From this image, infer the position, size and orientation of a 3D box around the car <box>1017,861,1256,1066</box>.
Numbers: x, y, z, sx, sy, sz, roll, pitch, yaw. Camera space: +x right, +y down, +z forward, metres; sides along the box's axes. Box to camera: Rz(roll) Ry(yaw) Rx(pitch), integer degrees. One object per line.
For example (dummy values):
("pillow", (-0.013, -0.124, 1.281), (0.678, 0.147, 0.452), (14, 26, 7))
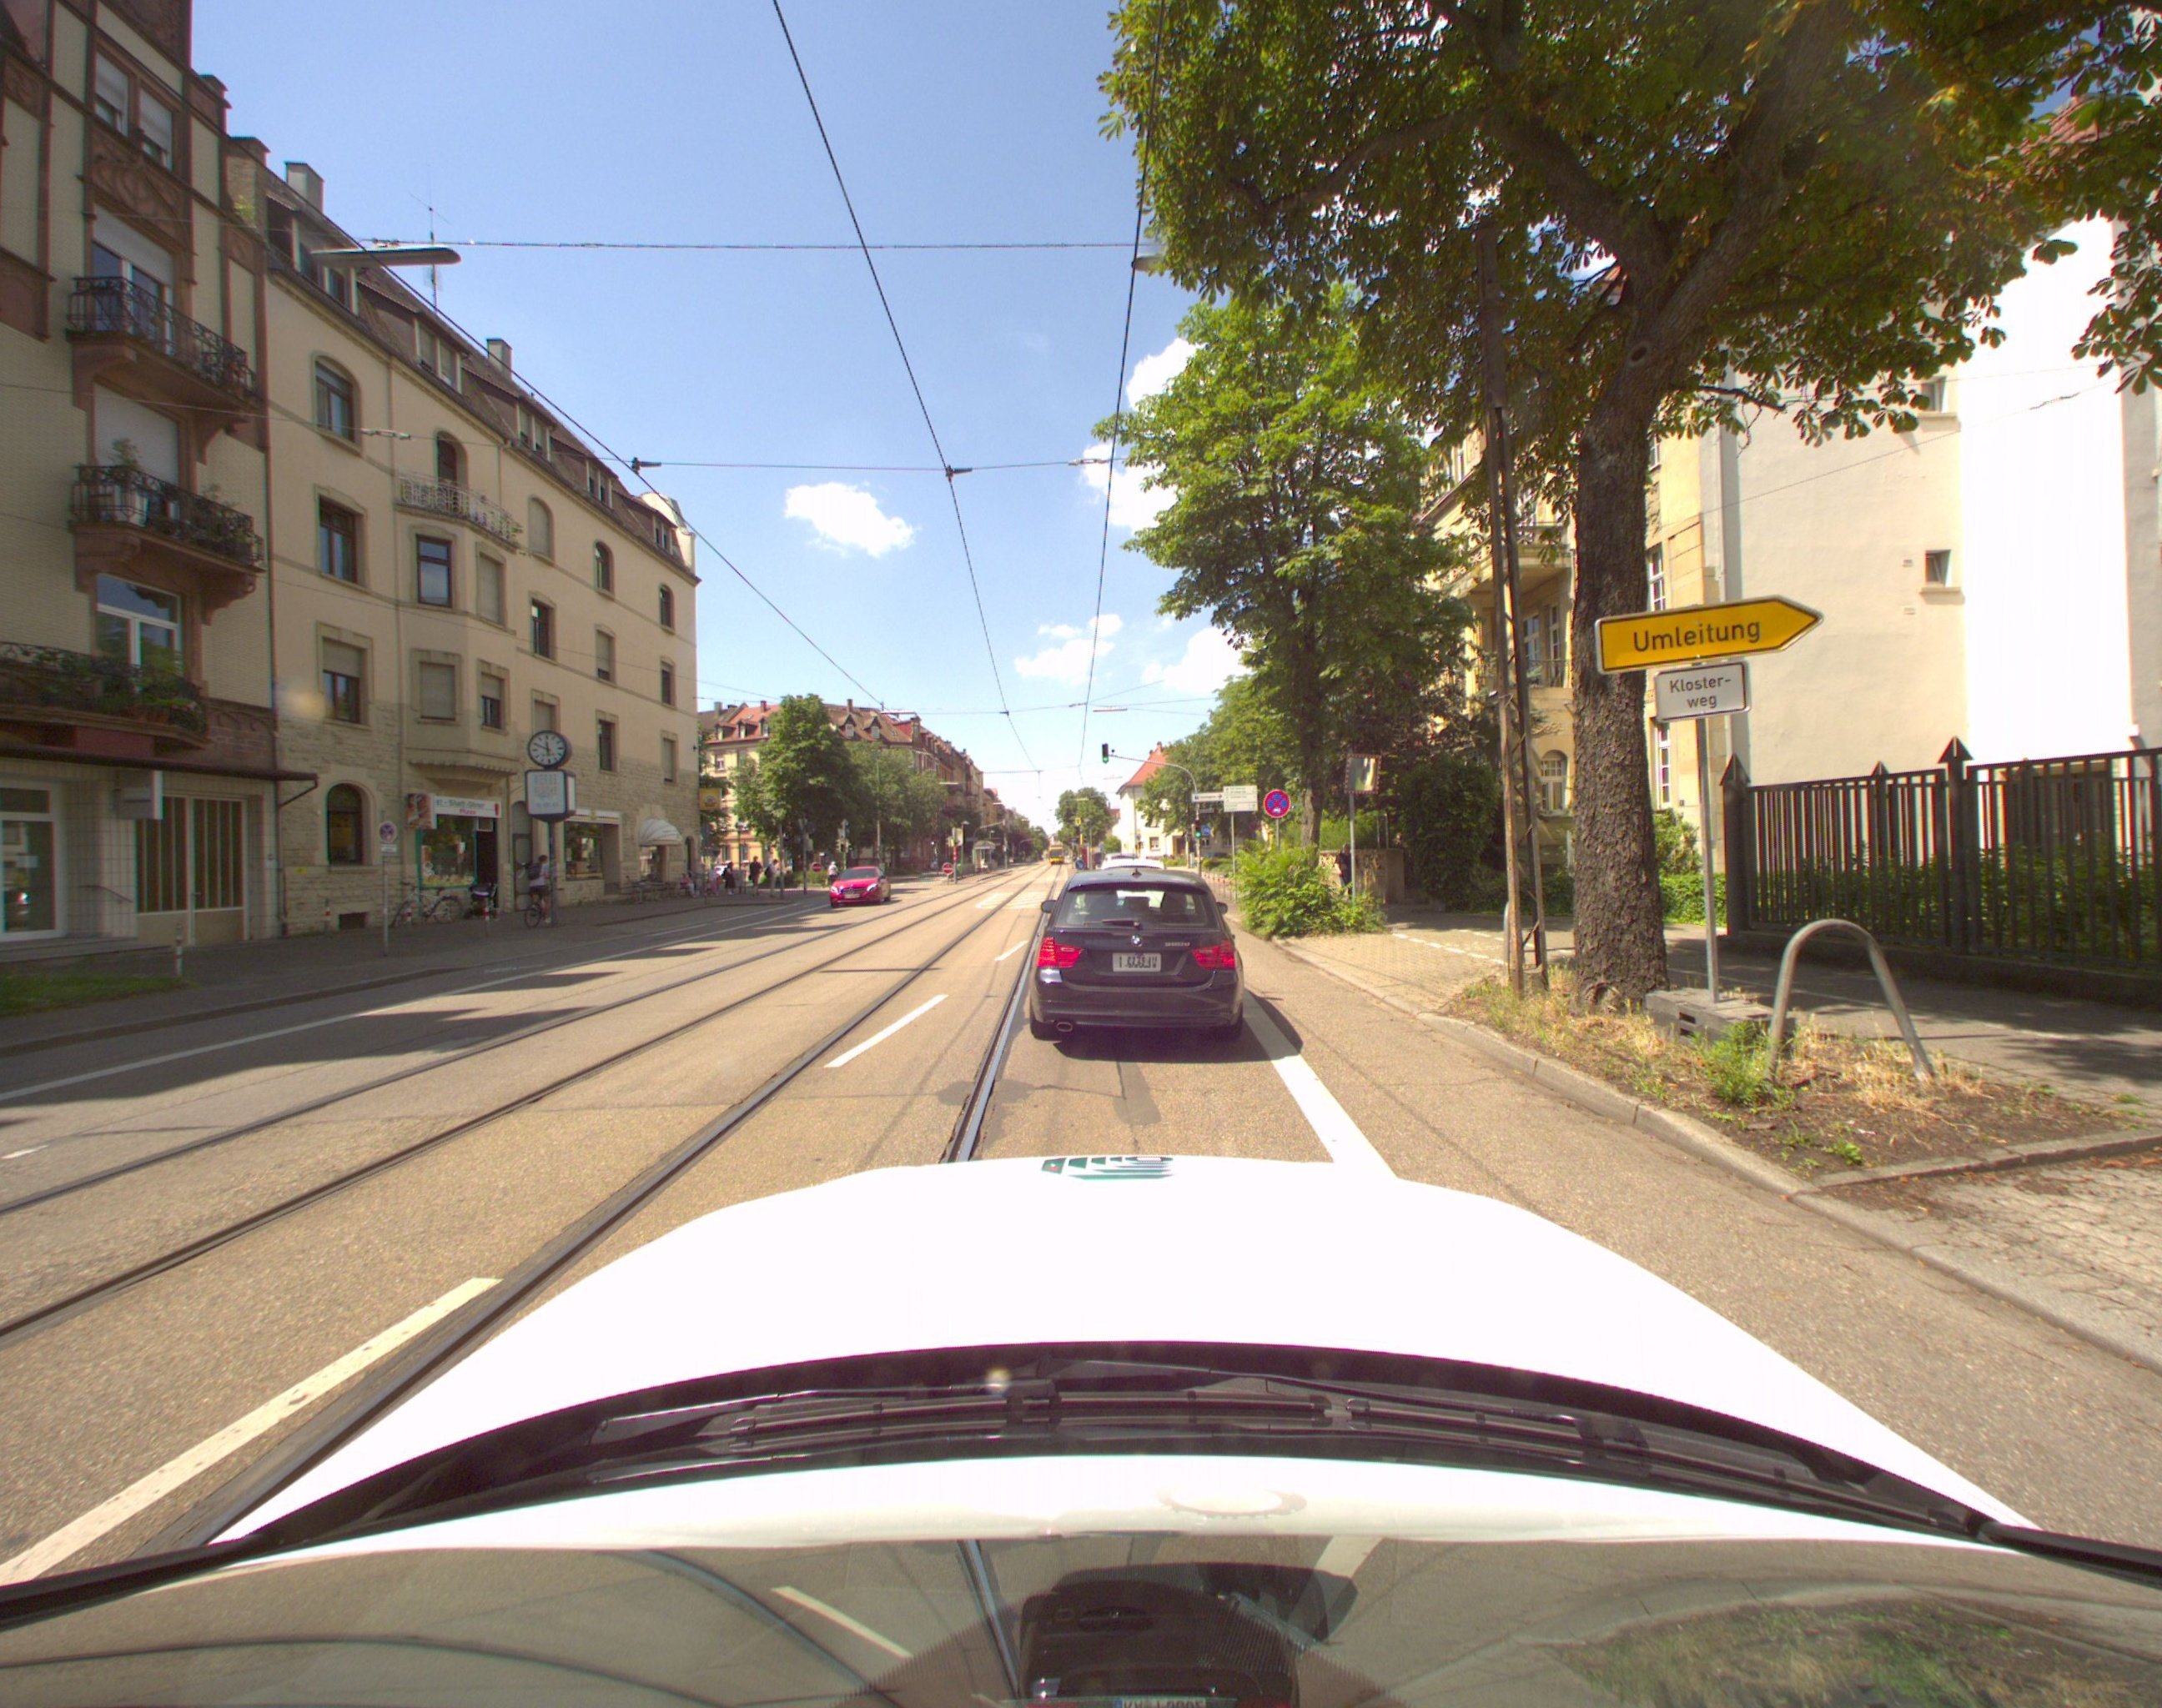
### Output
("car", (0.563, 0.810, 8.175), (1.715, 1.409, 4.570), (0, 0, 4))

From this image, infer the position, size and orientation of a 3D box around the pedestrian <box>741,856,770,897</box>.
("pedestrian", (-15.520, 1.058, 38.859), (0.898, 1.891, 1.164), (-2, 0, -2))

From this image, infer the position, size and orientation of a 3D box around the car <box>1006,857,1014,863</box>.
("car", (-17.130, 1.460, 196.216), (1.787, 1.586, 3.986), (0, -1, -10))

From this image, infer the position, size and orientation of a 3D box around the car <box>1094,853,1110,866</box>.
("car", (3.111, 0.795, 122.310), (1.990, 1.849, 3.993), (-2, 0, -5))

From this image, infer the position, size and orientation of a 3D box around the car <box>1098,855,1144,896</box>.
("car", (1.606, 0.823, 32.776), (1.684, 1.514, 3.824), (-1, 0, 3))

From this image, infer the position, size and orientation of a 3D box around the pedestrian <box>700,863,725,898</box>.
("pedestrian", (-17.161, 1.215, 37.921), (0.814, 1.595, 0.908), (-1, 0, -43))

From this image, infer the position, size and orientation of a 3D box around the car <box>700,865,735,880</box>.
("car", (-40.864, 2.080, 91.477), (3.429, 1.471, 1.694), (-2, 0, 23))

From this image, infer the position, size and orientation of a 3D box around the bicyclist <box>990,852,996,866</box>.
("bicyclist", (-11.630, 0.647, 107.388), (0.721, 1.870, 0.824), (-2, 0, -3))

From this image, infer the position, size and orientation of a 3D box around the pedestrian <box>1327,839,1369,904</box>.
("pedestrian", (7.068, 0.461, 21.564), (0.852, 1.645, 0.838), (-2, 0, 6))

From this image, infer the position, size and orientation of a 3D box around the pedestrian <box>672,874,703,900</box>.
("pedestrian", (-17.522, 1.452, 36.257), (0.913, 1.077, 0.883), (-2, 0, 0))

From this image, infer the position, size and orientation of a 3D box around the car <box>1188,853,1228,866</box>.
("car", (13.806, 0.594, 88.484), (3.948, 1.243, 1.634), (-2, 0, 34))

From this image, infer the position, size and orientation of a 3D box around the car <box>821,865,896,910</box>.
("car", (-8.300, 1.187, 30.738), (1.820, 1.413, 4.422), (-3, 0, -4))

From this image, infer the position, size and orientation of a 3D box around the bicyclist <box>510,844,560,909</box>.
("bicyclist", (-14.251, 0.578, 21.275), (0.754, 1.663, 0.830), (0, -1, -1))

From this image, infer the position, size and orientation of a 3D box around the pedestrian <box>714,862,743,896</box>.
("pedestrian", (-17.646, 1.226, 40.759), (1.018, 1.635, 0.864), (-2, 0, 5))

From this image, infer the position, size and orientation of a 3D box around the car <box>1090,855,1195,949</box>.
("car", (1.042, 0.786, 15.260), (1.679, 1.484, 3.685), (-2, 0, 1))

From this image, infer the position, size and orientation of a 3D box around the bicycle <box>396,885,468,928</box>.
("bicycle", (-17.100, 1.362, 21.487), (0.366, 1.066, 1.473), (-1, -1, 22))

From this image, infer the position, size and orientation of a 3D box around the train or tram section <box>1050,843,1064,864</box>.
("train or tram section", (-4.294, -0.067, 146.741), (2.184, 3.482, 8.840), (-2, 0, -1))

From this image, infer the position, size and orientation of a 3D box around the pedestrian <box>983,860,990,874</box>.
("pedestrian", (-8.354, 1.125, 71.892), (0.613, 1.243, 0.626), (-2, 0, -7))

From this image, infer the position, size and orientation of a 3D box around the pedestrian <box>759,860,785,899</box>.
("pedestrian", (-14.157, 1.155, 37.279), (0.856, 1.732, 0.776), (0, 0, 3))

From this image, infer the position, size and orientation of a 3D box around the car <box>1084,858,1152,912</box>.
("car", (0.968, 0.799, 22.800), (1.686, 1.323, 3.820), (-2, 0, 0))

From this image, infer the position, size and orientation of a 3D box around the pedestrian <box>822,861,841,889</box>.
("pedestrian", (-15.652, 1.331, 51.062), (0.914, 1.723, 0.839), (-2, 0, -4))

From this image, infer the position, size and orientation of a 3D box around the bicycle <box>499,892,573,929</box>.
("bicycle", (-14.226, 1.459, 21.320), (0.750, 0.817, 1.818), (-2, 0, -3))

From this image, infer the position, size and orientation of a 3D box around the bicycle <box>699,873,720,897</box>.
("bicycle", (-18.181, 1.511, 39.836), (0.547, 1.128, 1.663), (-1, -2, -38))

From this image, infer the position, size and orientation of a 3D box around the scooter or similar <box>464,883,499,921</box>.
("scooter or similar", (-17.345, 1.369, 23.547), (0.700, 1.044, 1.195), (0, -1, -42))
